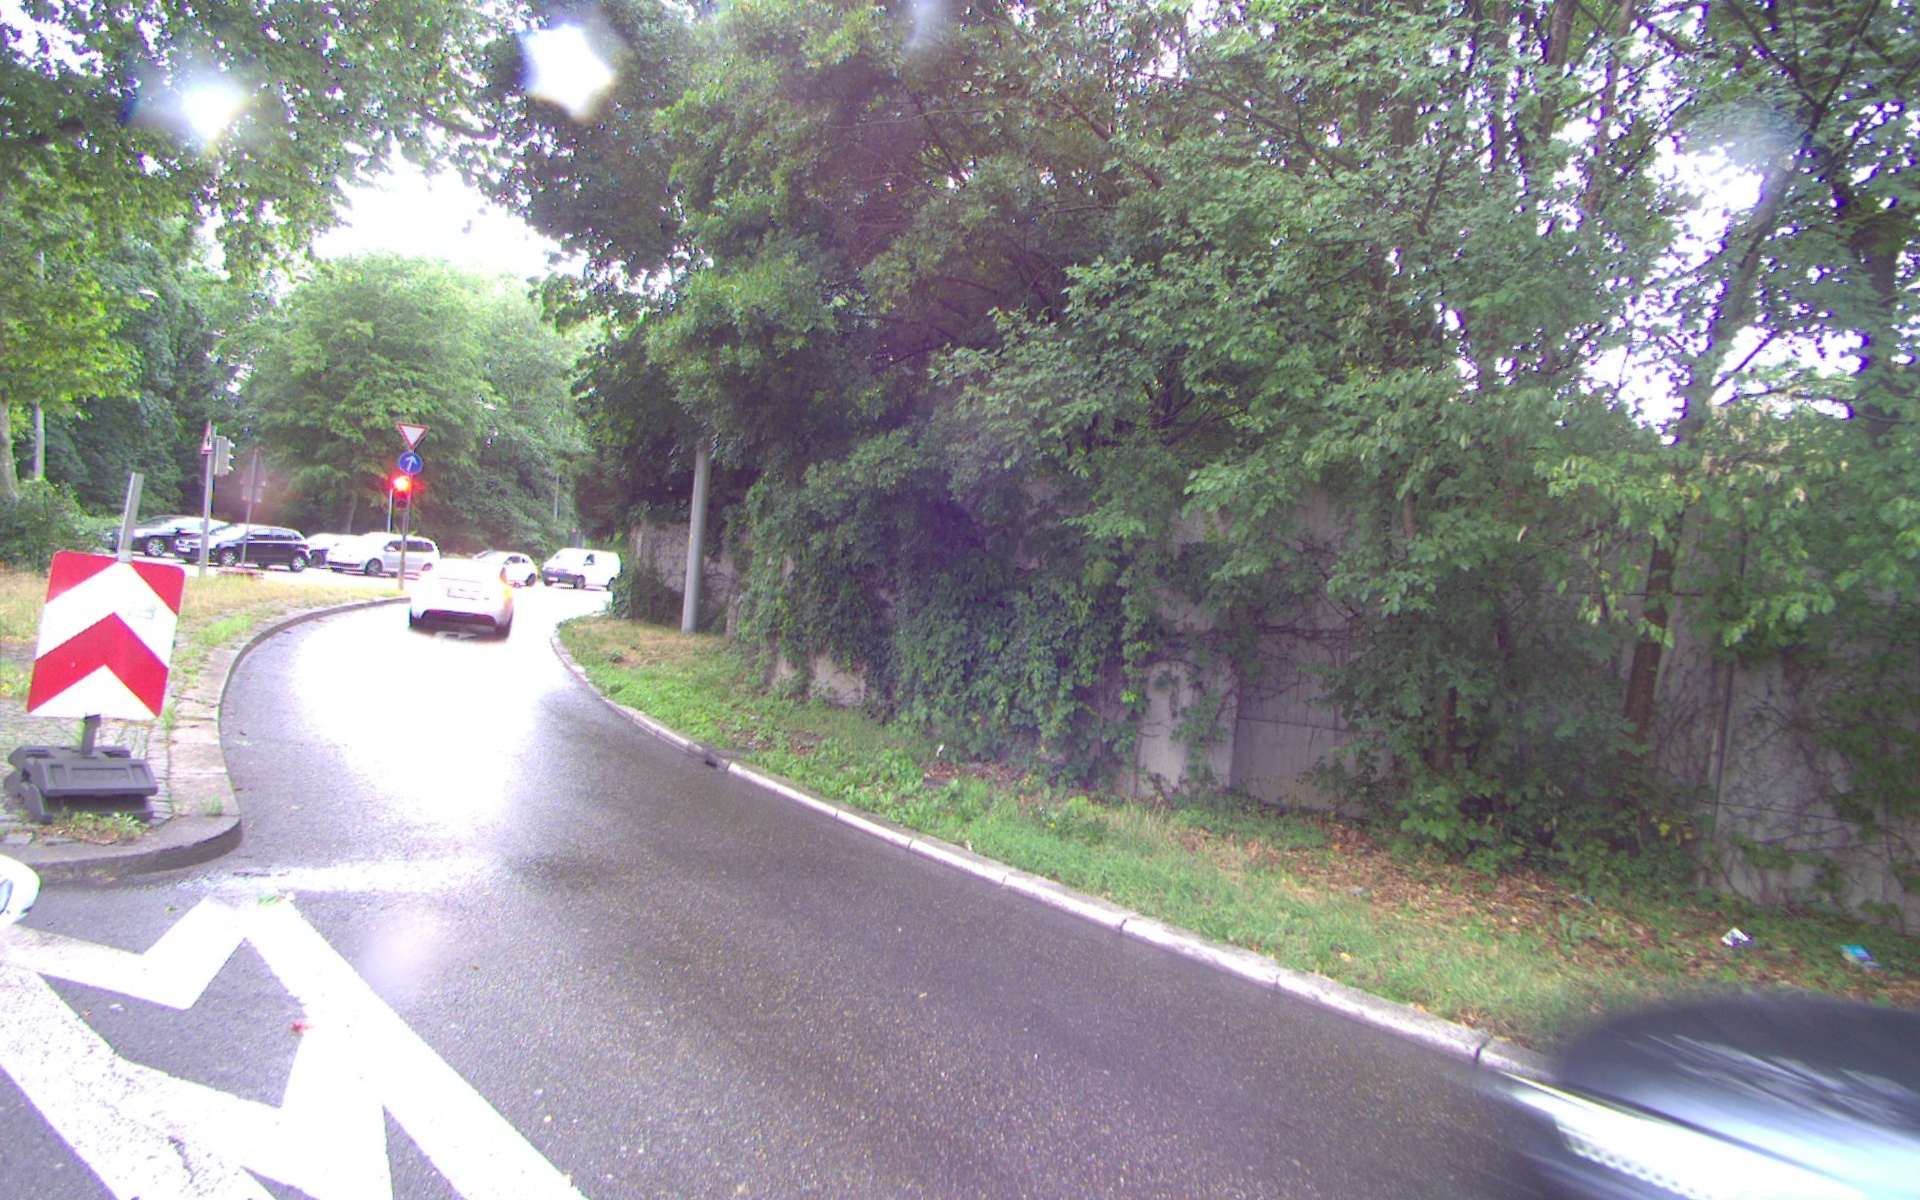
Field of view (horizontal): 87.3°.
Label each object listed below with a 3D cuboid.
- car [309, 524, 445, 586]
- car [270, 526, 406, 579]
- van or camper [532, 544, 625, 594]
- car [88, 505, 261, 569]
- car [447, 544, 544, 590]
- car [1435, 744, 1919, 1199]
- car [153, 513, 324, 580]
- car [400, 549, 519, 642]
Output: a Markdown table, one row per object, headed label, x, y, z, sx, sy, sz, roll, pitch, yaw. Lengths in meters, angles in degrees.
| label | x | y | z | sx | sy | sz | roll | pitch | yaw |
| --- | --- | --- | --- | --- | --- | --- | --- | --- | --- |
| car | -22.091 | -1.645 | 38.342 | 1.871 | 1.699 | 4.216 | 7 | -2 | 16 |
| car | -24.804 | -1.870 | 40.307 | 1.795 | 1.418 | 4.452 | 7 | -2 | 16 |
| van or camper | -19.136 | -1.506 | 50.722 | 1.870 | 1.970 | 4.870 | 7 | -1 | 12 |
| car | -26.670 | -2.104 | 34.337 | 1.913 | 1.457 | 4.218 | 7 | -2 | 16 |
| car | -20.555 | -1.417 | 44.694 | 1.627 | 1.478 | 3.869 | 7 | -2 | 16 |
| car | 3.227 | 1.324 | 1.435 | 4.347 | 1.418 | 1.750 | 7 | -3 | 38 |
| car | -23.327 | -1.675 | 32.736 | 1.759 | 1.477 | 4.205 | 7 | -2 | 16 |
| car | -10.493 | -0.135 | 21.382 | 1.837 | 1.464 | 4.593 | 11 | -3 | -24 |
